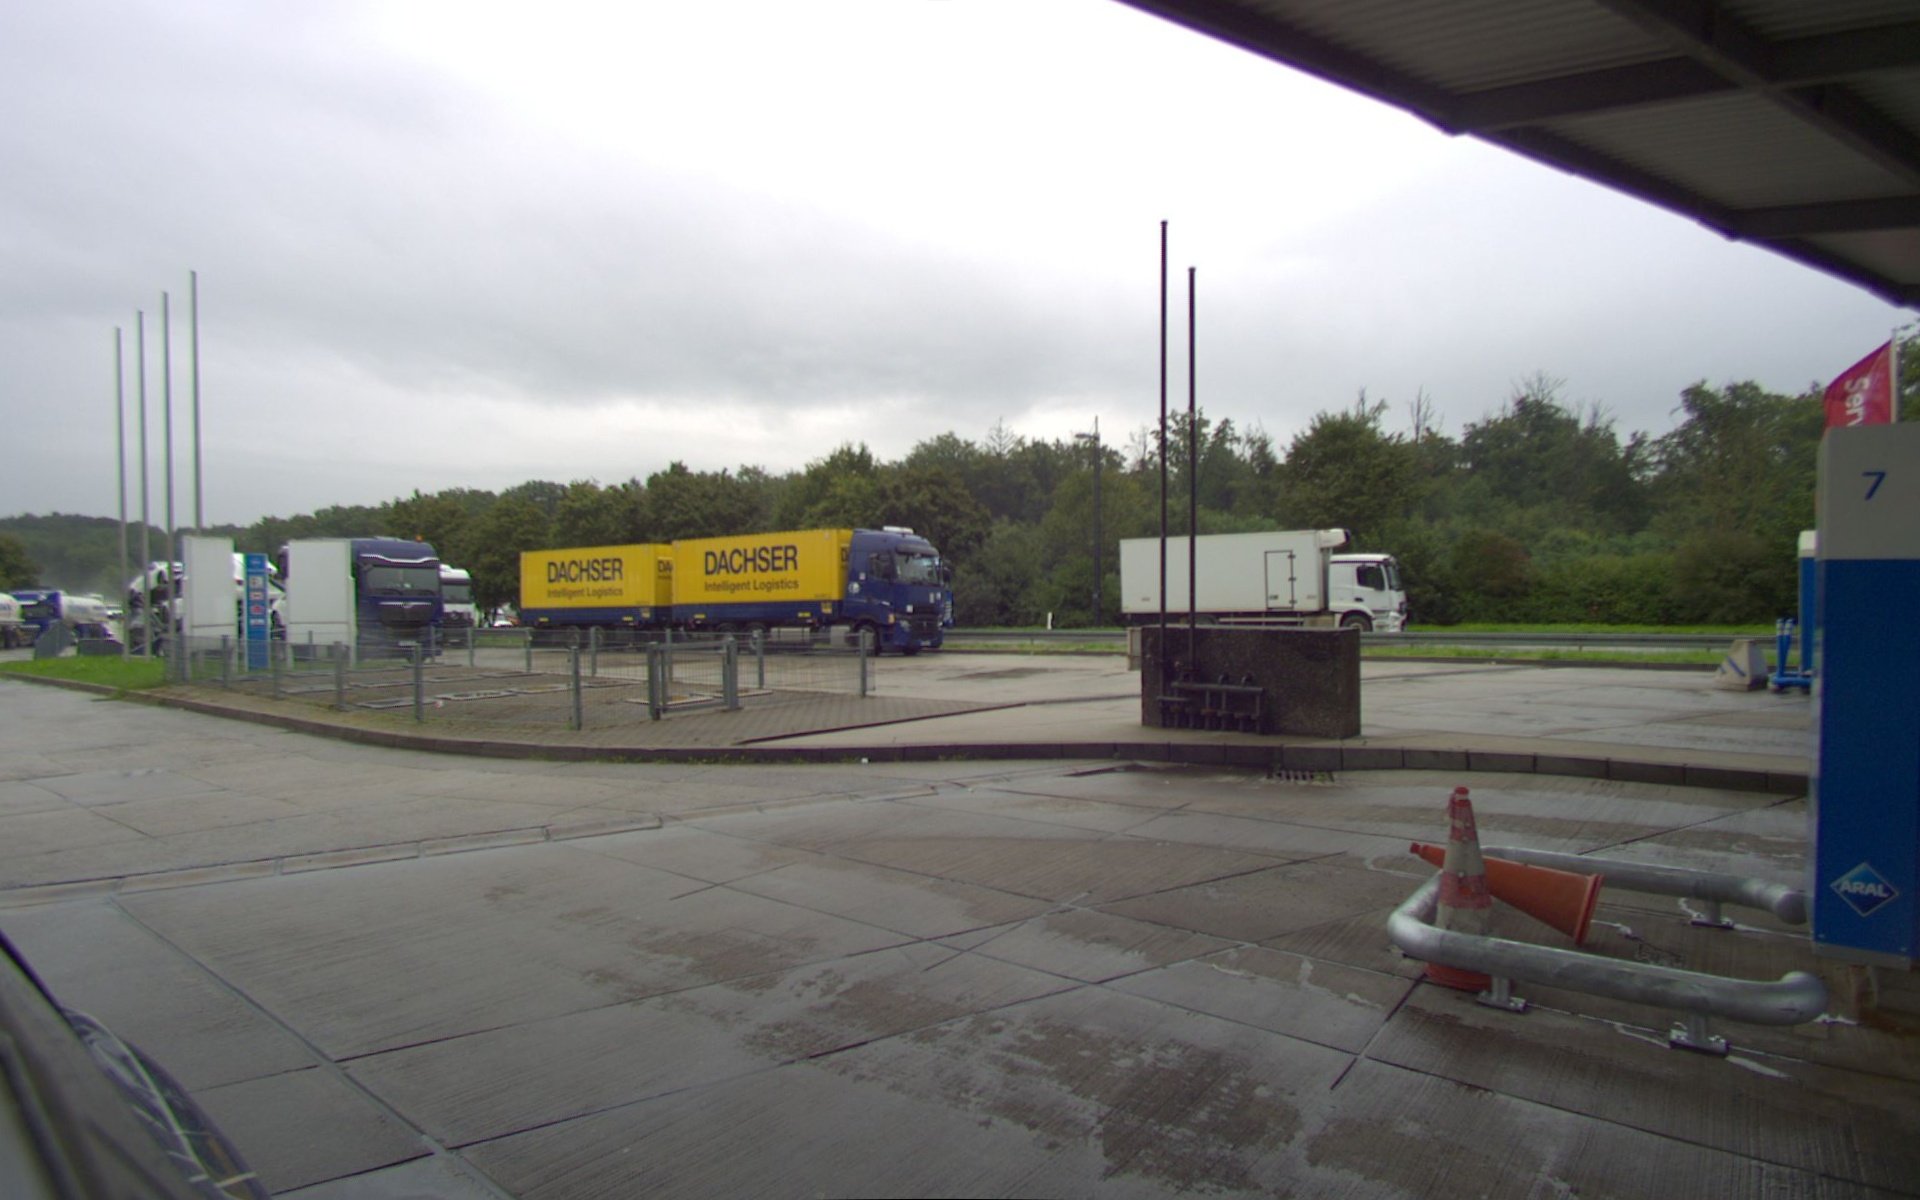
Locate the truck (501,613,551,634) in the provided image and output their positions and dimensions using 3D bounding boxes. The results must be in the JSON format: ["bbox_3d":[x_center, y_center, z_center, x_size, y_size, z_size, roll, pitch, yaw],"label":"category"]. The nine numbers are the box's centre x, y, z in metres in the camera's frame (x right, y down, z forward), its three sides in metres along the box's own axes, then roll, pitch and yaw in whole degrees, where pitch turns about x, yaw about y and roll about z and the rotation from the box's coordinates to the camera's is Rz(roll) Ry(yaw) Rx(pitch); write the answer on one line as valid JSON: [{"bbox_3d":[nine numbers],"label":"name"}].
[{"bbox_3d":[-42.749,2.312,99.697,4.913,2.029,1.980,-1,0,29],"label":"truck"}]

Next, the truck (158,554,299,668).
[{"bbox_3d":[-26.110,0.399,36.079,4.738,3.800,2.635,-1,0,34],"label":"truck"}]

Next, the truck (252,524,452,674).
[{"bbox_3d":[-19.012,0.015,31.483,7.089,4.213,2.635,-1,0,35],"label":"truck"}]

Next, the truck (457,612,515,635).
[{"bbox_3d":[-45.566,2.278,97.247,5.810,2.140,2.061,-1,0,31],"label":"truck"}]

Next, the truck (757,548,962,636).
[{"bbox_3d":[-4.882,-0.305,47.649,10.195,3.836,2.395,-1,0,31],"label":"truck"}]

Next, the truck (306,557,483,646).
[{"bbox_3d":[-27.322,0.110,48.633,10.654,3.946,2.727,-1,0,33],"label":"truck"}]

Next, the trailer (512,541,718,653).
[{"bbox_3d":[-13.502,-0.067,39.263,8.679,3.946,2.728,-1,0,32],"label":"trailer"}]

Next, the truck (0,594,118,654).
[{"bbox_3d":[-61.498,1.626,68.661,3.454,3.633,14.709,-1,-1,-27],"label":"truck"}]

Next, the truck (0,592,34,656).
[{"bbox_3d":[-55.159,1.341,53.694,3.454,3.633,14.444,-1,-1,-19],"label":"truck"}]

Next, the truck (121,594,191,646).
[{"bbox_3d":[-68.041,1.627,85.534,11.525,4.160,3.101,-1,0,44],"label":"truck"}]

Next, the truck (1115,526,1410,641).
[{"bbox_3d":[10.966,-0.508,37.454,10.195,3.836,2.395,-1,0,31],"label":"truck"}]

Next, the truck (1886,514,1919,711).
[{"bbox_3d":[14.990,0.130,11.959,5.859,2.513,2.208,-1,0,41],"label":"truck"}]

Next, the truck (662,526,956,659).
[{"bbox_3d":[-5.340,-0.172,34.034,10.654,3.946,2.727,-1,0,33],"label":"truck"}]

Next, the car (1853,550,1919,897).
[{"bbox_3d":[6.907,0.545,3.805,5.269,1.620,1.842,-1,0,41],"label":"car"}]

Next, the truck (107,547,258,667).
[{"bbox_3d":[-29.592,0.303,38.452,6.605,4.213,2.635,-1,0,35],"label":"truck"}]
